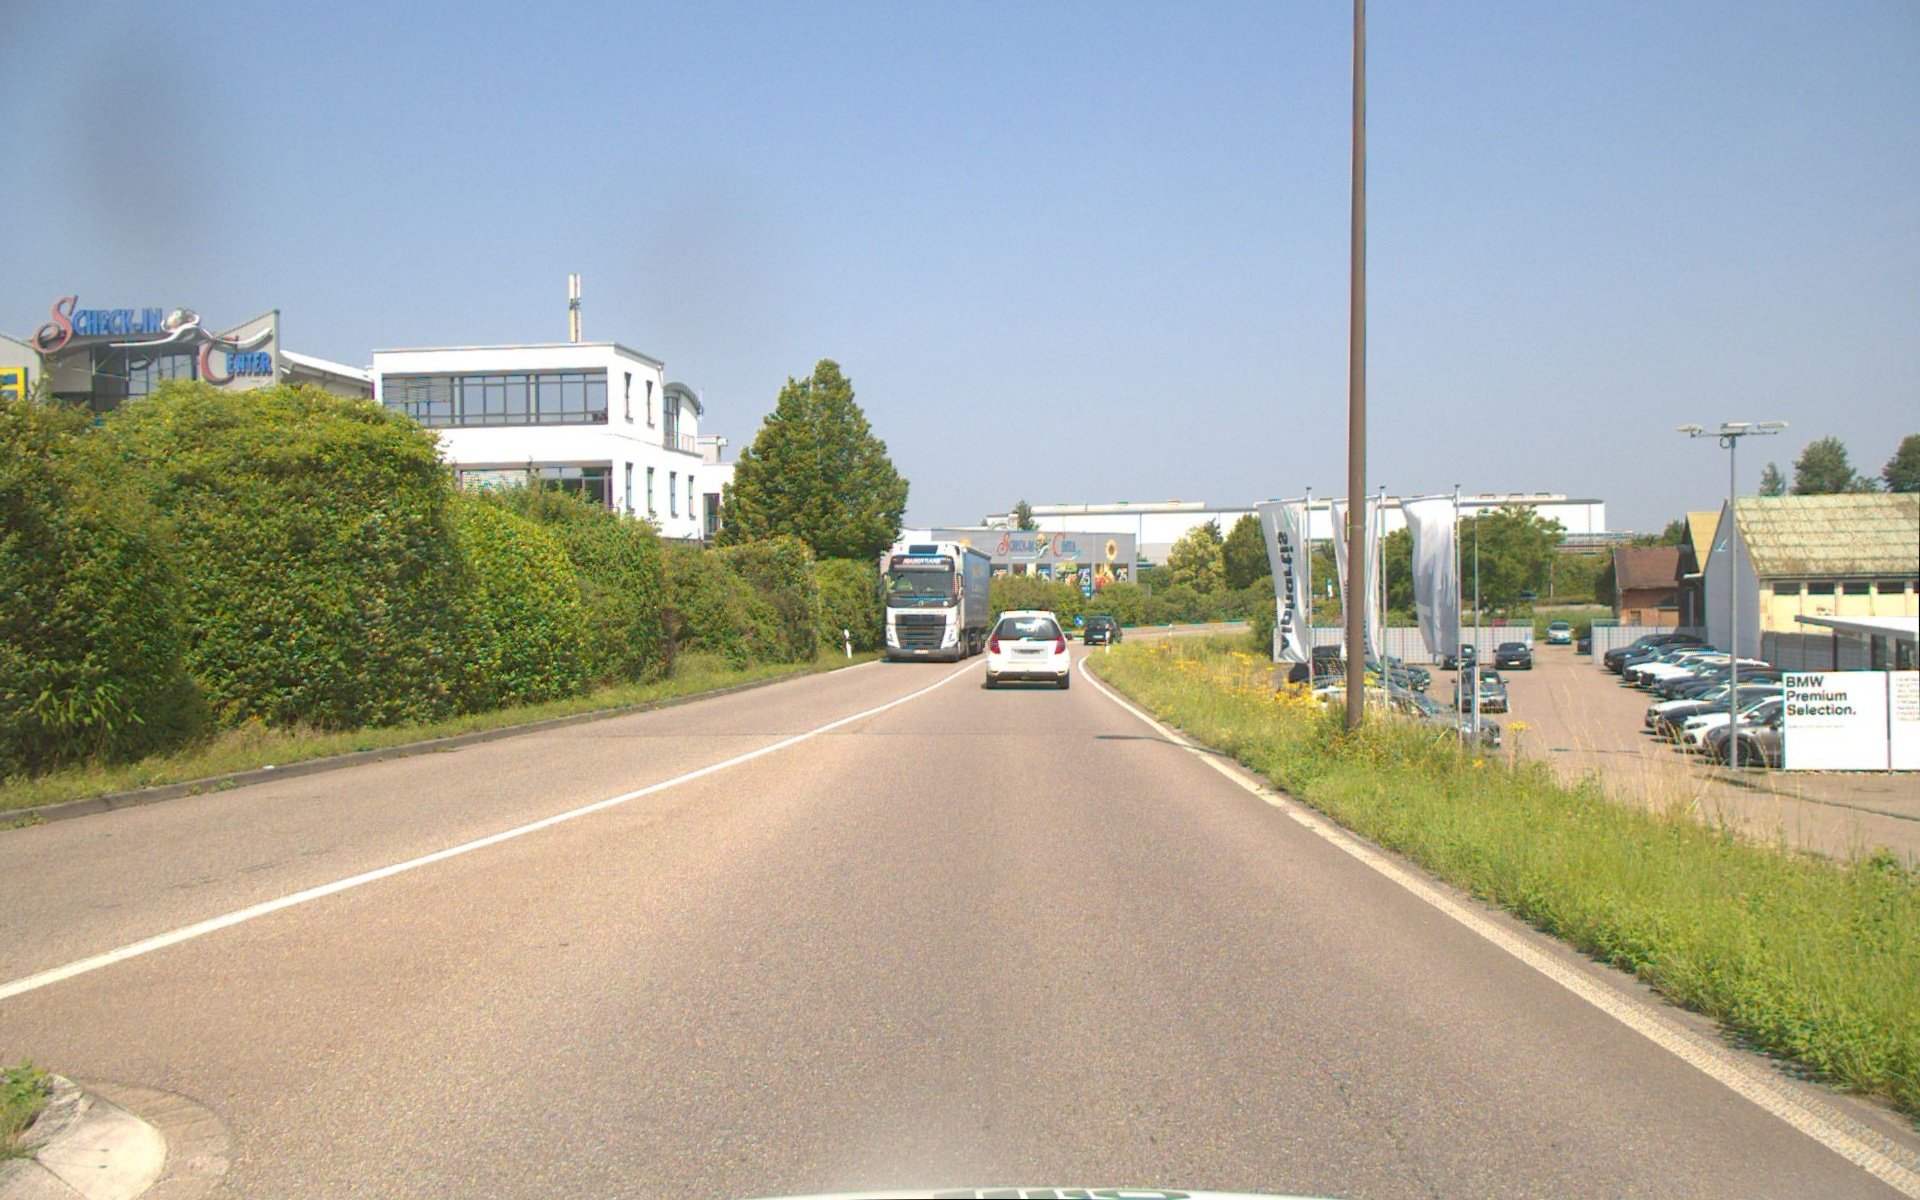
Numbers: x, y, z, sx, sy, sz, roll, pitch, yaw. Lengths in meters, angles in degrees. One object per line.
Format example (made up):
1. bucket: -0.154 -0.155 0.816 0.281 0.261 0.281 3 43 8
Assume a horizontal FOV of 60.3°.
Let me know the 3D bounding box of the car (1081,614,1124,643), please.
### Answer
1. car: 7.620 1.518 88.216 1.789 1.496 4.413 0 -1 11

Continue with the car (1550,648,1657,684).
1. car: 29.644 3.037 76.283 4.243 1.549 1.908 0 1 -9

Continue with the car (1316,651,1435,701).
1. car: 16.365 2.981 65.248 4.157 1.730 1.909 0 1 40

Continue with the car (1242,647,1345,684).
1. car: 16.067 3.124 79.734 4.543 1.633 1.852 0 0 31

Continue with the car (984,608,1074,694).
1. car: 1.461 1.040 35.109 1.744 1.631 3.894 3 0 2

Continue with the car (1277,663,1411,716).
1. car: 14.334 3.312 61.863 4.551 1.730 1.849 0 1 36

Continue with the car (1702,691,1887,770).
1. car: 19.148 2.955 37.975 3.720 1.550 1.748 0 -1 30

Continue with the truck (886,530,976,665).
1. truck: -0.919 -0.033 56.802 2.460 4.332 6.116 -1 -1 5

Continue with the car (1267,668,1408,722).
1. car: 12.163 3.021 53.365 4.083 1.550 1.852 0 -1 32

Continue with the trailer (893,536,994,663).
1. trailer: -0.422 0.065 63.857 2.614 4.315 14.572 1 -1 4

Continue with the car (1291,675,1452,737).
1. car: 11.638 2.956 46.777 4.082 1.550 1.852 0 -1 31

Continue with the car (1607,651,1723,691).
1. car: 30.398 3.046 71.361 4.243 1.549 1.908 0 1 -9

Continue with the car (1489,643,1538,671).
1. car: 29.821 3.047 89.050 1.955 1.422 3.994 0 -1 28

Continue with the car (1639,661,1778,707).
1. car: 27.059 3.034 59.835 4.227 1.550 1.795 0 -1 -3

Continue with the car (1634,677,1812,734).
1. car: 22.185 3.057 48.239 4.331 1.550 1.933 -1 -1 8

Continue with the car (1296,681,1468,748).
1. car: 11.147 2.993 43.777 4.083 1.550 1.747 0 -1 32

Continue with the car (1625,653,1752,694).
1. car: 30.115 3.020 68.403 4.512 1.549 1.908 0 1 -9

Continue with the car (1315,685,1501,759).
1. car: 10.921 2.951 40.450 4.089 1.550 1.684 0 -1 36

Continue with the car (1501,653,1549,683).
1. car: 31.299 3.740 91.579 1.815 1.561 4.637 0 -1 27

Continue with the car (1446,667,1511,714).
1. car: 18.594 3.222 59.448 2.090 1.483 4.535 0 -1 16

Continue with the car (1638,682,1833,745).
1. car: 20.858 3.039 44.618 4.333 1.550 1.933 0 -1 2

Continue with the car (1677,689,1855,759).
1. car: 20.043 3.067 41.317 3.878 1.550 1.751 -1 -1 23

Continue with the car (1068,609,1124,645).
1. car: 8.031 1.597 97.365 1.954 2.049 3.996 0 -1 26

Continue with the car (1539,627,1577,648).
1. car: 41.624 2.587 115.088 1.955 1.422 3.994 0 -1 28

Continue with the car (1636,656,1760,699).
1. car: 27.969 2.942 62.759 3.917 1.550 1.757 0 -1 -3

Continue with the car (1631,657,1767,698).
1. car: 29.303 3.057 65.682 4.553 1.550 1.910 0 -1 -3
